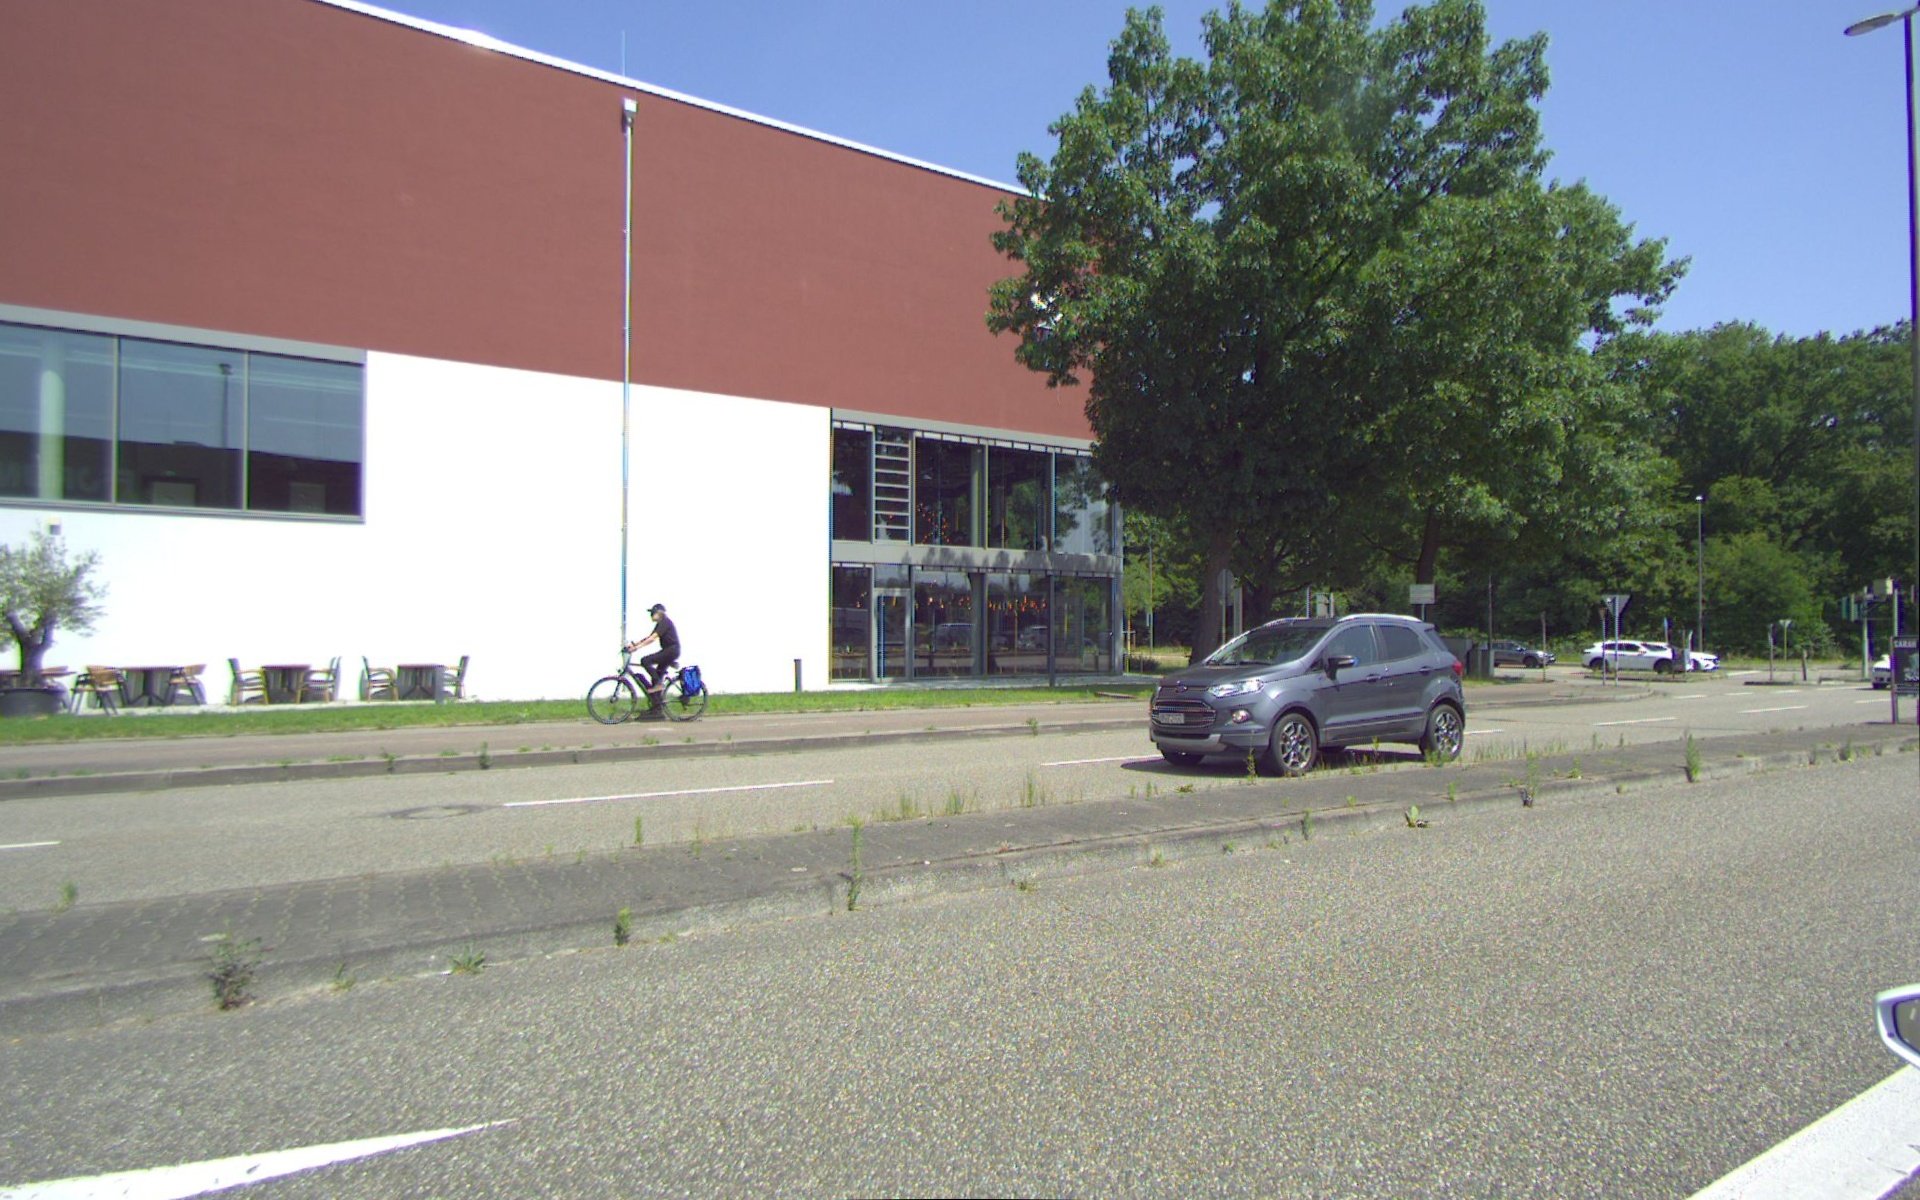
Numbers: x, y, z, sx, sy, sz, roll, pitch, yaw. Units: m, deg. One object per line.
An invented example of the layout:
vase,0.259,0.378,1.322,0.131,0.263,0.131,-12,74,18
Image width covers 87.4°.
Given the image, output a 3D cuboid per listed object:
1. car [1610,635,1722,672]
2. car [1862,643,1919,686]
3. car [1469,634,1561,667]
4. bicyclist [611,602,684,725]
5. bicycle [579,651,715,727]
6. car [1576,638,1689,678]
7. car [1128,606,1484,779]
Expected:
car,36.559,2.802,52.104,1.794,1.703,4.340,2,-6,-37
car,30.069,1.994,31.306,4.252,1.279,1.710,1,-4,-31
car,32.193,2.900,58.346,1.796,1.704,4.332,2,-1,-41
bicyclist,-4.703,0.937,15.112,0.917,1.793,0.646,1,-1,-30
bicycle,-4.694,1.309,15.112,1.862,1.065,0.652,1,-1,-31
car,33.410,2.826,49.999,1.794,1.704,4.338,2,0,-37
car,3.896,0.964,11.182,3.842,1.621,1.678,1,-4,-32
